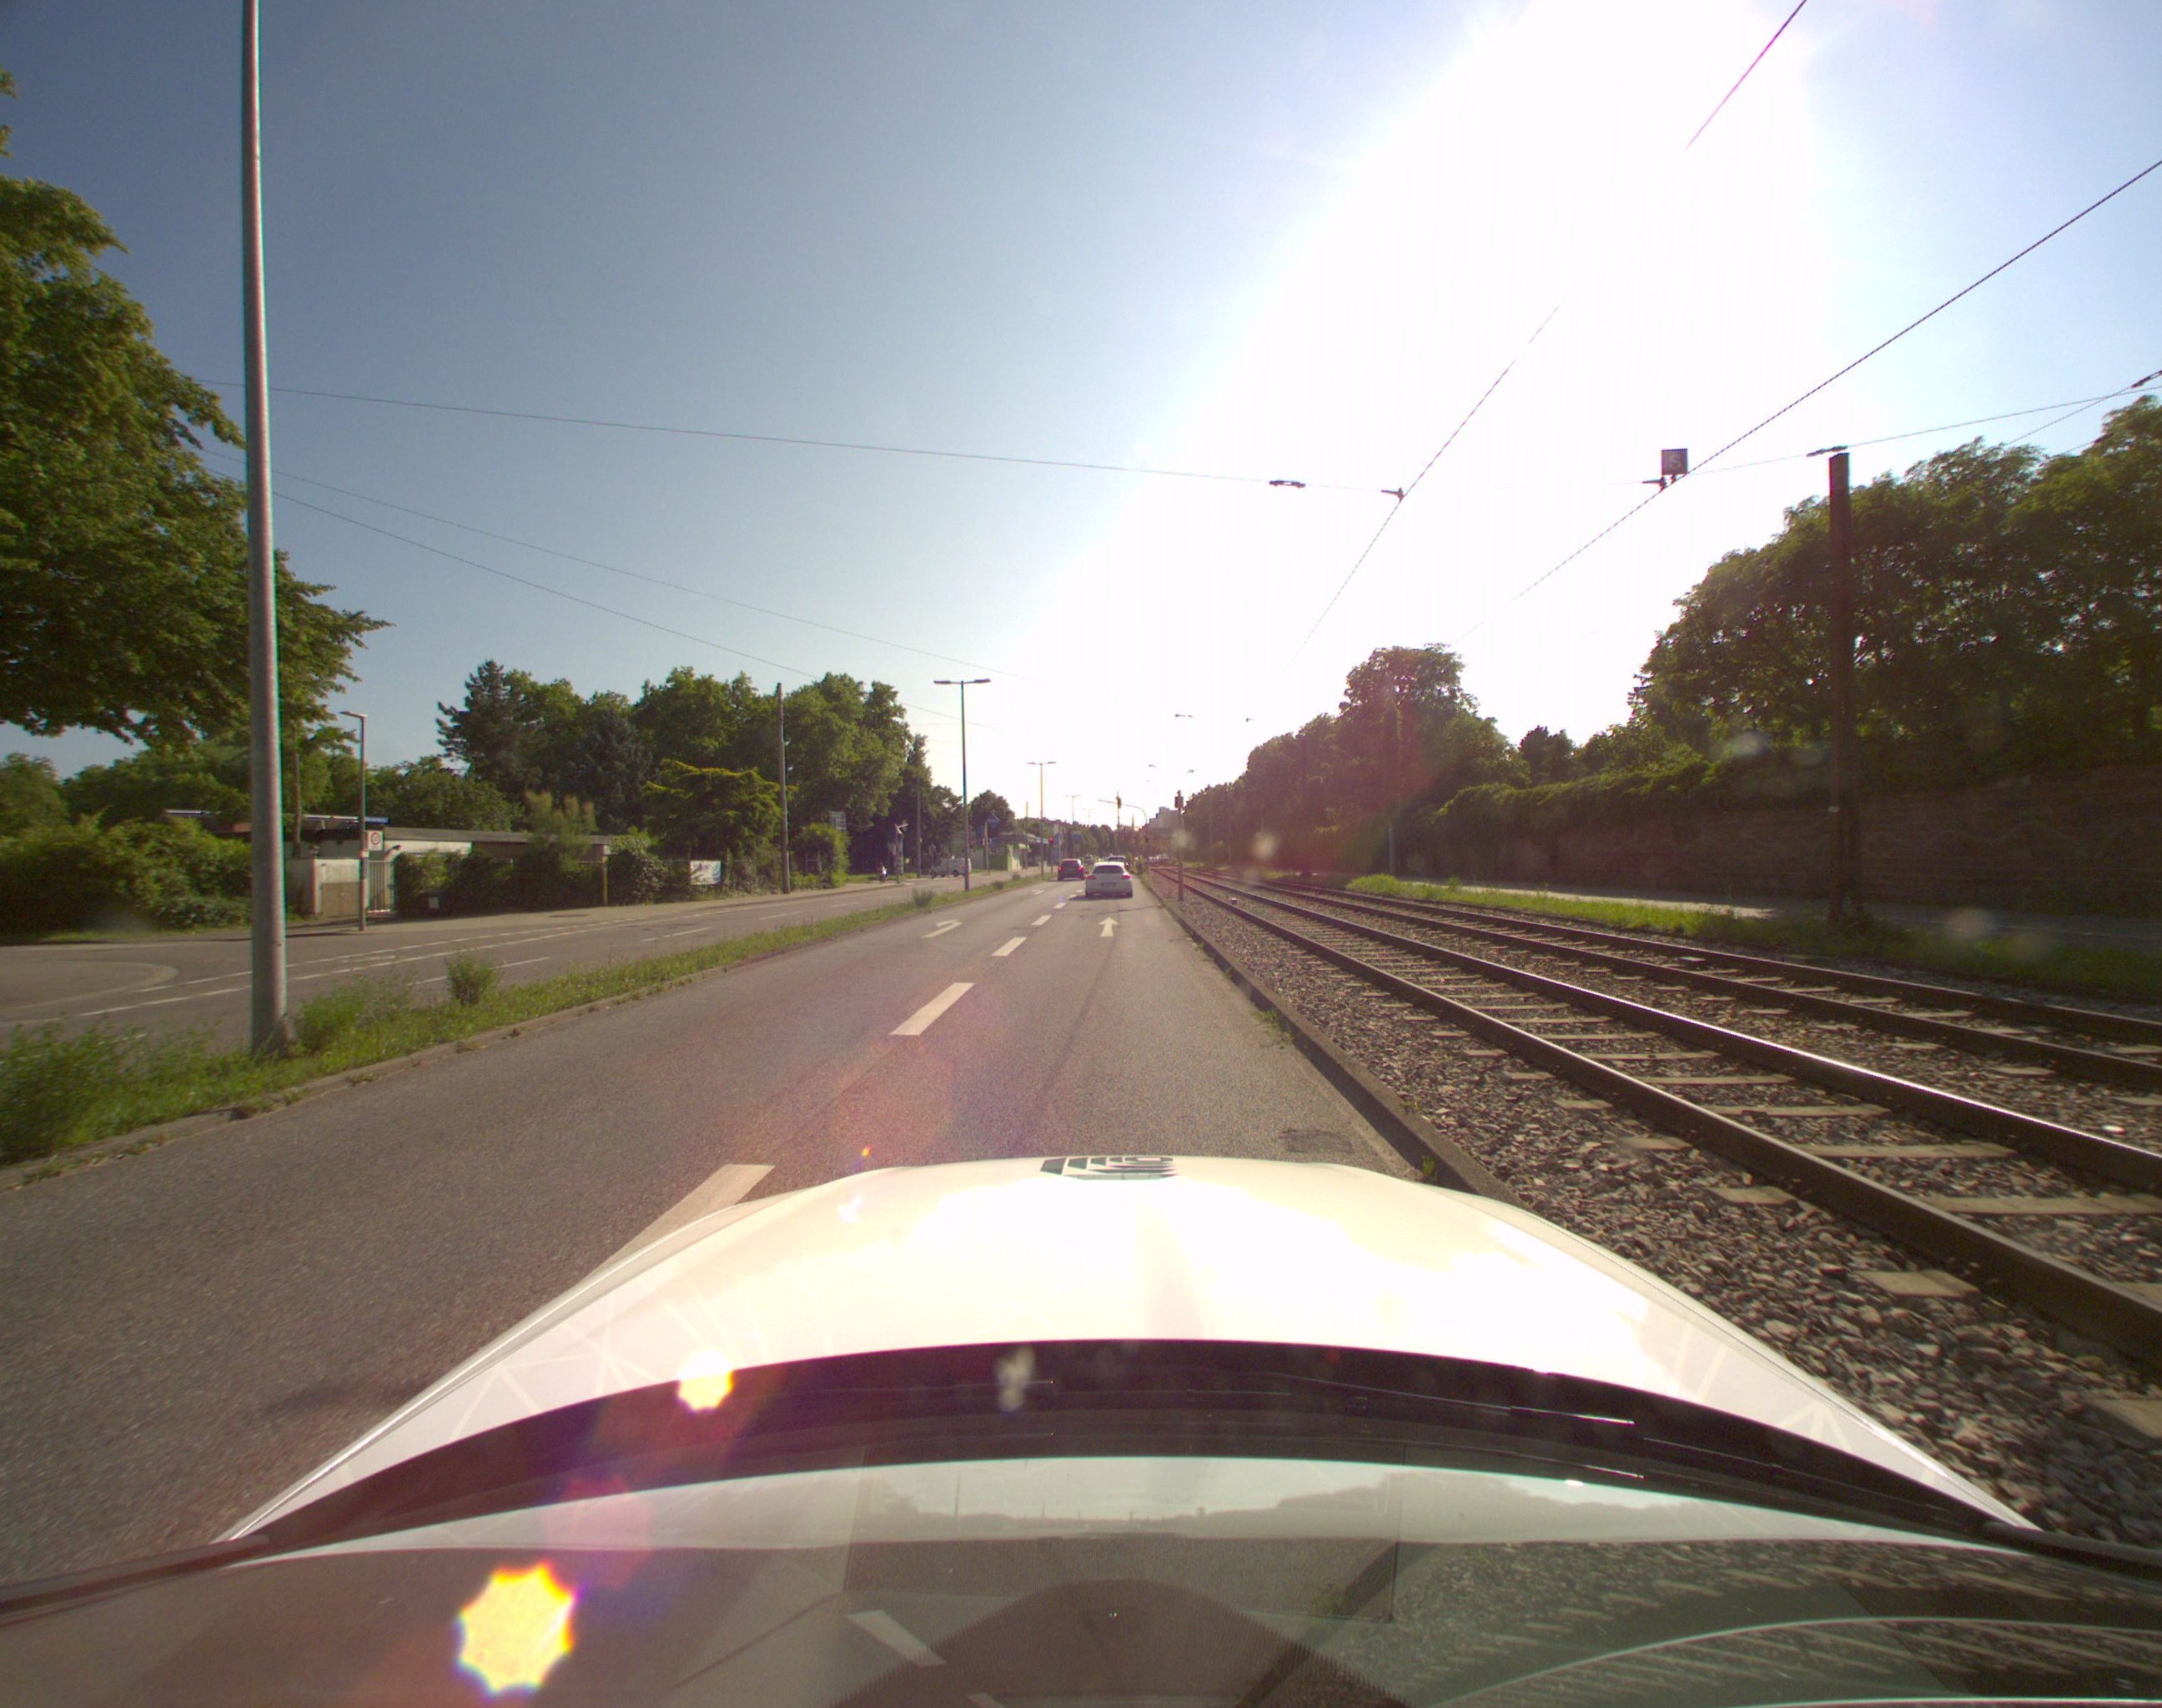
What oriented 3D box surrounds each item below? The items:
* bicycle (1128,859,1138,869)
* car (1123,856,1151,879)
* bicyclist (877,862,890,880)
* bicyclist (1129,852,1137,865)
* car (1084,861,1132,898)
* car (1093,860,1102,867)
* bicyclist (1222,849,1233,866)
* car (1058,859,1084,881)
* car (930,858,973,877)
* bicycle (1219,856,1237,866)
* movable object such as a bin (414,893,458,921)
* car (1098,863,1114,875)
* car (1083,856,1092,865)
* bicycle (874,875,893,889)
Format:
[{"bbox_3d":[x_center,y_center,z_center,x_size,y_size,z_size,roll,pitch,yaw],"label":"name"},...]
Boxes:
[{"bbox_3d":[6.085,1.161,94.943,0.638,1.154,1.946,-2,0,18],"label":"bicycle"},{"bbox_3d":[3.908,0.919,57.490,1.719,1.593,3.600,0,0,0],"label":"car"},{"bbox_3d":[-16.098,1.387,66.274,0.658,1.452,1.053,-2,-1,7],"label":"bicyclist"},{"bbox_3d":[6.069,0.510,94.977,0.638,1.416,1.017,-4,0,18],"label":"bicyclist"},{"bbox_3d":[1.097,0.959,32.019,1.774,1.356,3.603,0,0,3],"label":"car"},{"bbox_3d":[3.429,1.983,172.324,1.646,1.395,4.137,-2,0,3],"label":"car"},{"bbox_3d":[17.330,0.391,96.301,1.023,1.993,0.953,-2,-1,28],"label":"bicyclist"},{"bbox_3d":[-0.684,1.104,57.032,1.755,1.486,4.644,0,0,0],"label":"car"},{"bbox_3d":[-14.226,1.475,89.450,4.347,1.963,1.834,-2,-1,25],"label":"car"},{"bbox_3d":[17.361,0.830,96.290,1.903,1.115,0.953,-2,-1,27],"label":"bicycle"},{"bbox_3d":[-22.704,1.865,28.675,0.813,0.931,0.853,-2,0,2],"label":"movable object such as a bin"},{"bbox_3d":[3.054,1.809,99.358,1.740,1.486,3.607,0,0,6],"label":"car"},{"bbox_3d":[1.841,1.676,224.796,1.983,2.376,4.547,-2,0,7],"label":"car"},{"bbox_3d":[-16.060,2.303,66.305,0.658,1.049,2.585,-2,-1,7],"label":"bicycle"}]
